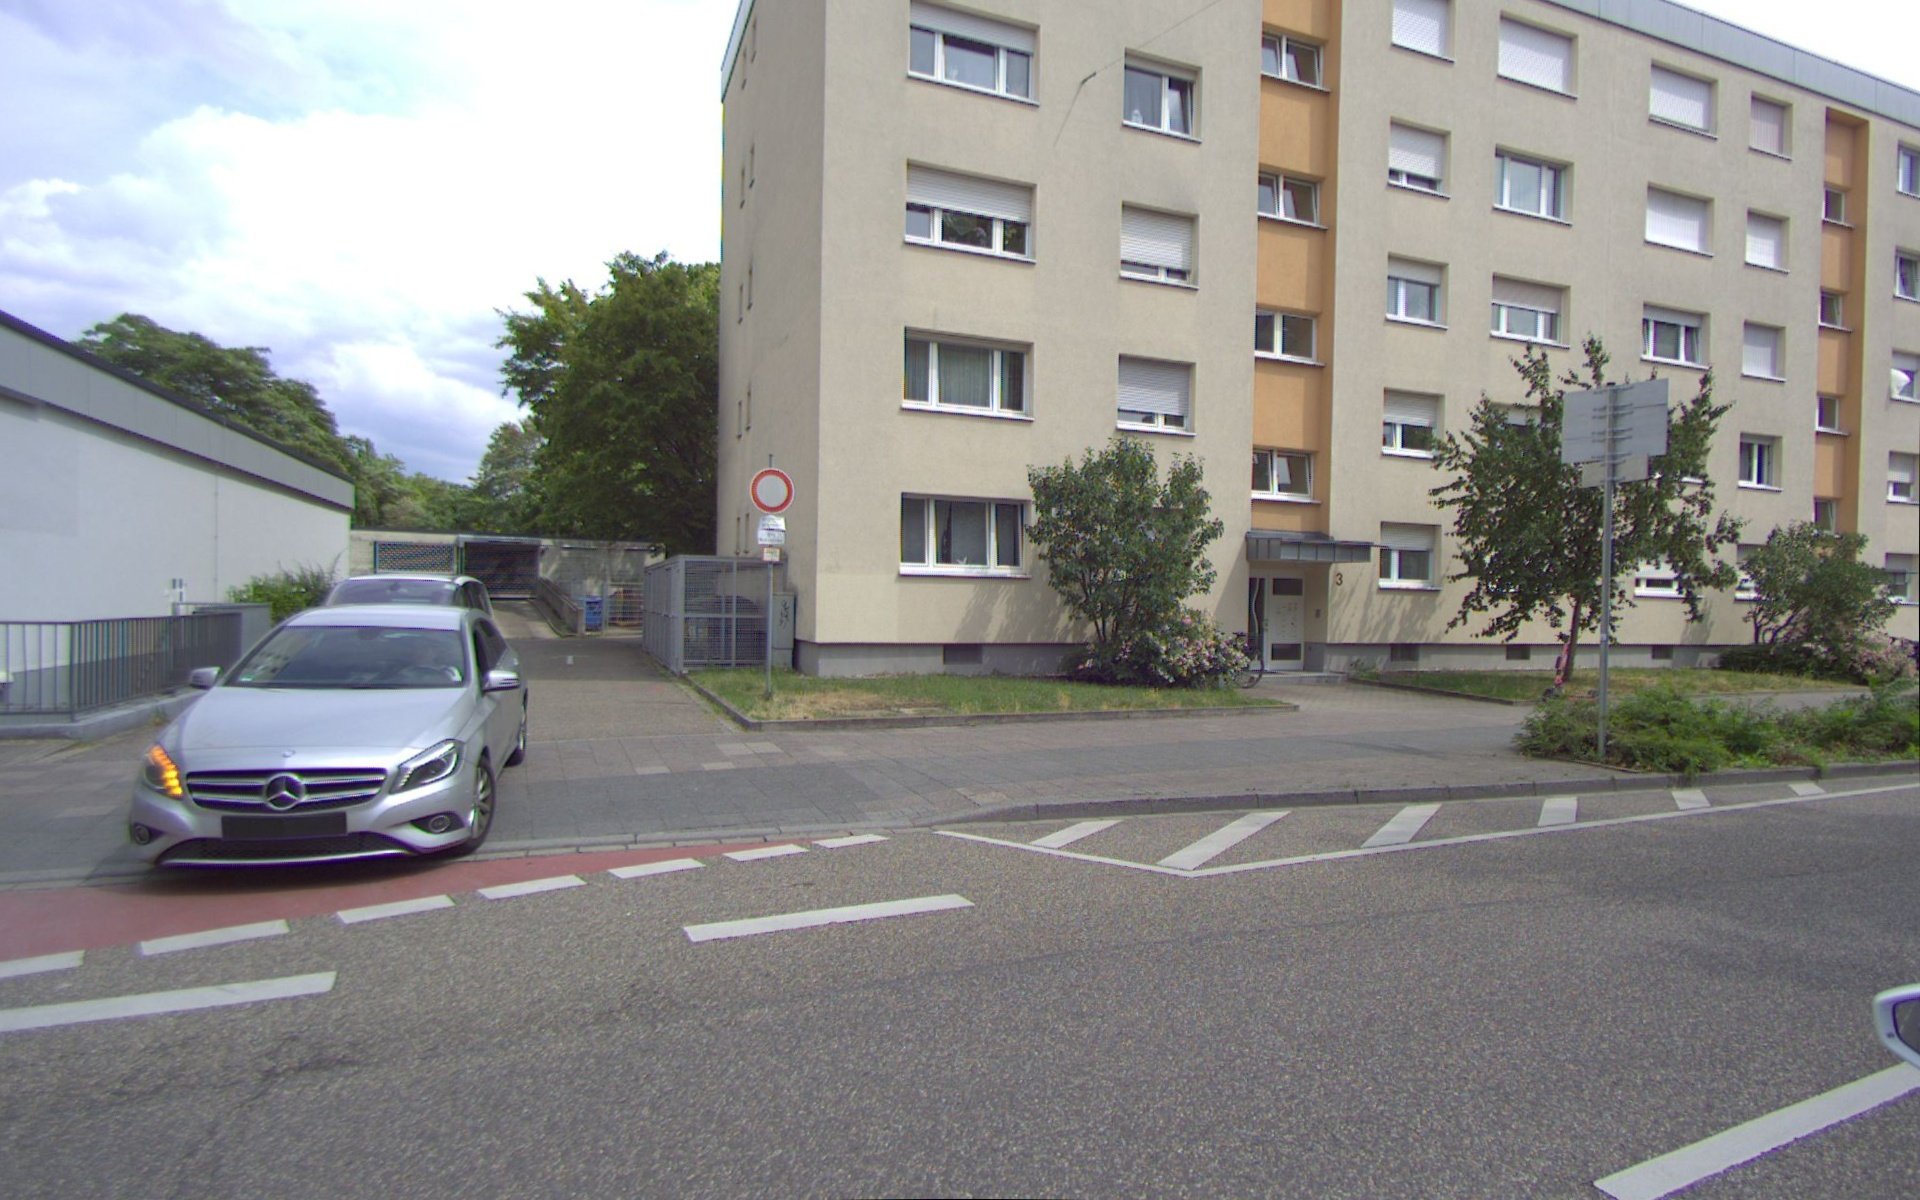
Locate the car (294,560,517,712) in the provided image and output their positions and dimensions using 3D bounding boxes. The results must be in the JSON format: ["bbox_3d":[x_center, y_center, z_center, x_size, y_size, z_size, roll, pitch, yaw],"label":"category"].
[{"bbox_3d":[-7.327,0.458,13.777,1.820,1.708,4.627,1,-1,-18],"label":"car"}]

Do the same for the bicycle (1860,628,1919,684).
[{"bbox_3d":[22.097,1.294,23.514,1.901,1.268,0.579,0,1,-15],"label":"bicycle"}]

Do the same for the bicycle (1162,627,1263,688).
[{"bbox_3d":[4.494,1.020,17.862,1.775,1.051,0.411,2,0,-17],"label":"bicycle"}]

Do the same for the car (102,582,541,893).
[{"bbox_3d":[-4.179,0.679,7.358,1.821,1.470,4.165,1,2,-20],"label":"car"}]

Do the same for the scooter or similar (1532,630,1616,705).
[{"bbox_3d":[10.319,1.137,16.884,1.268,1.209,0.402,2,1,-14],"label":"scooter or similar"}]
